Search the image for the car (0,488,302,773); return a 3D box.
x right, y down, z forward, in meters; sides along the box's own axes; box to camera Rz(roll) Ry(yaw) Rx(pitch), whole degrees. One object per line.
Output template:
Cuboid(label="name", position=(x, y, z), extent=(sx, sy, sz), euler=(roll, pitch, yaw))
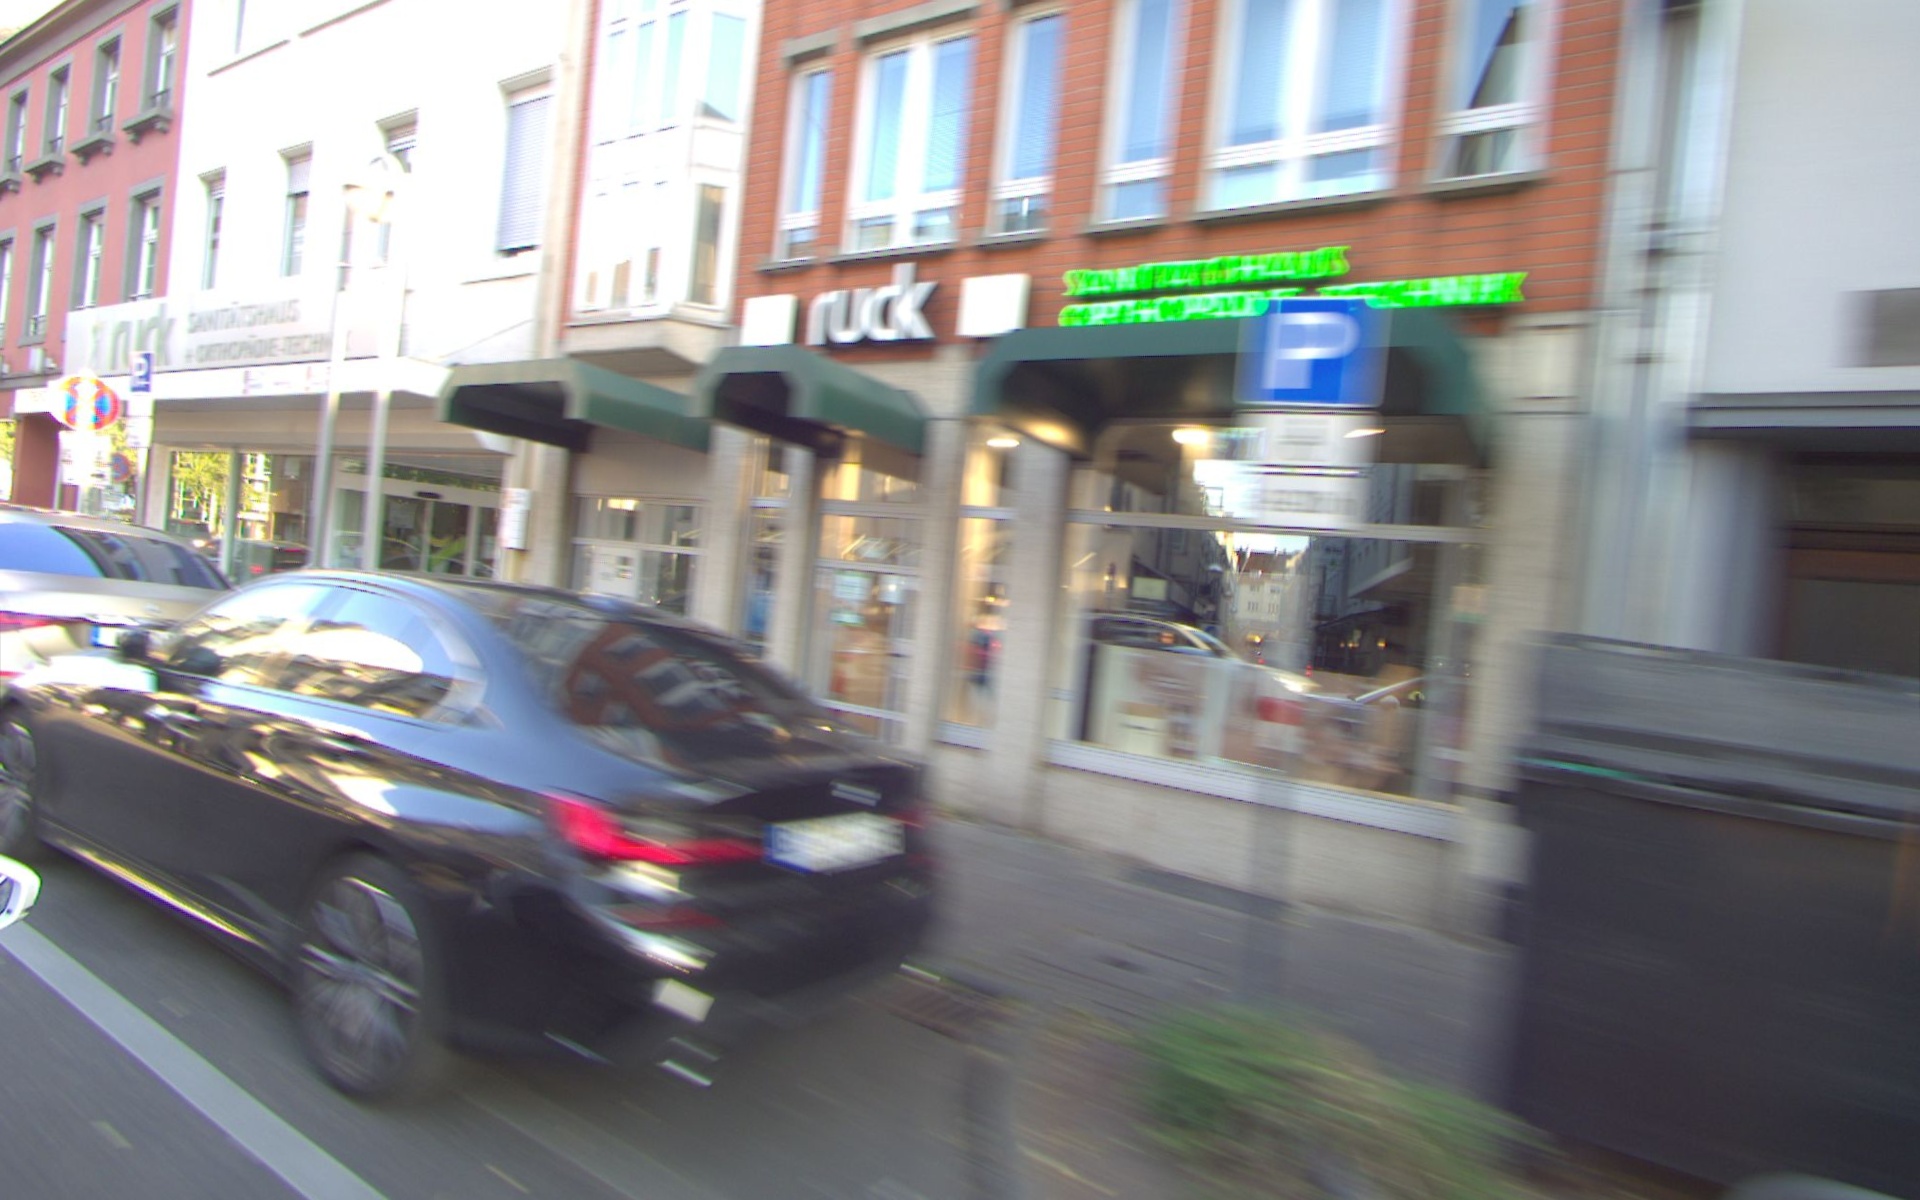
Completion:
Cuboid(label="car", position=(-6.950, 0.041, 7.262), extent=(4.914, 1.545, 1.814), euler=(5, -2, 34))

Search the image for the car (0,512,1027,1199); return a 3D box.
Cuboid(label="car", position=(-2.163, 0.595, 4.085), extent=(4.434, 1.437, 1.756), euler=(6, -1, 31))

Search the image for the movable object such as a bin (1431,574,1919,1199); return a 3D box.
Cuboid(label="movable object such as a bin", position=(2.217, 0.906, 2.942), extent=(1.330, 1.795, 0.837), euler=(6, -1, 28))

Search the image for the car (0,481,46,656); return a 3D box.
Cuboid(label="car", position=(-12.298, -0.575, 11.054), extent=(4.975, 1.775, 1.886), euler=(5, -2, 31))
